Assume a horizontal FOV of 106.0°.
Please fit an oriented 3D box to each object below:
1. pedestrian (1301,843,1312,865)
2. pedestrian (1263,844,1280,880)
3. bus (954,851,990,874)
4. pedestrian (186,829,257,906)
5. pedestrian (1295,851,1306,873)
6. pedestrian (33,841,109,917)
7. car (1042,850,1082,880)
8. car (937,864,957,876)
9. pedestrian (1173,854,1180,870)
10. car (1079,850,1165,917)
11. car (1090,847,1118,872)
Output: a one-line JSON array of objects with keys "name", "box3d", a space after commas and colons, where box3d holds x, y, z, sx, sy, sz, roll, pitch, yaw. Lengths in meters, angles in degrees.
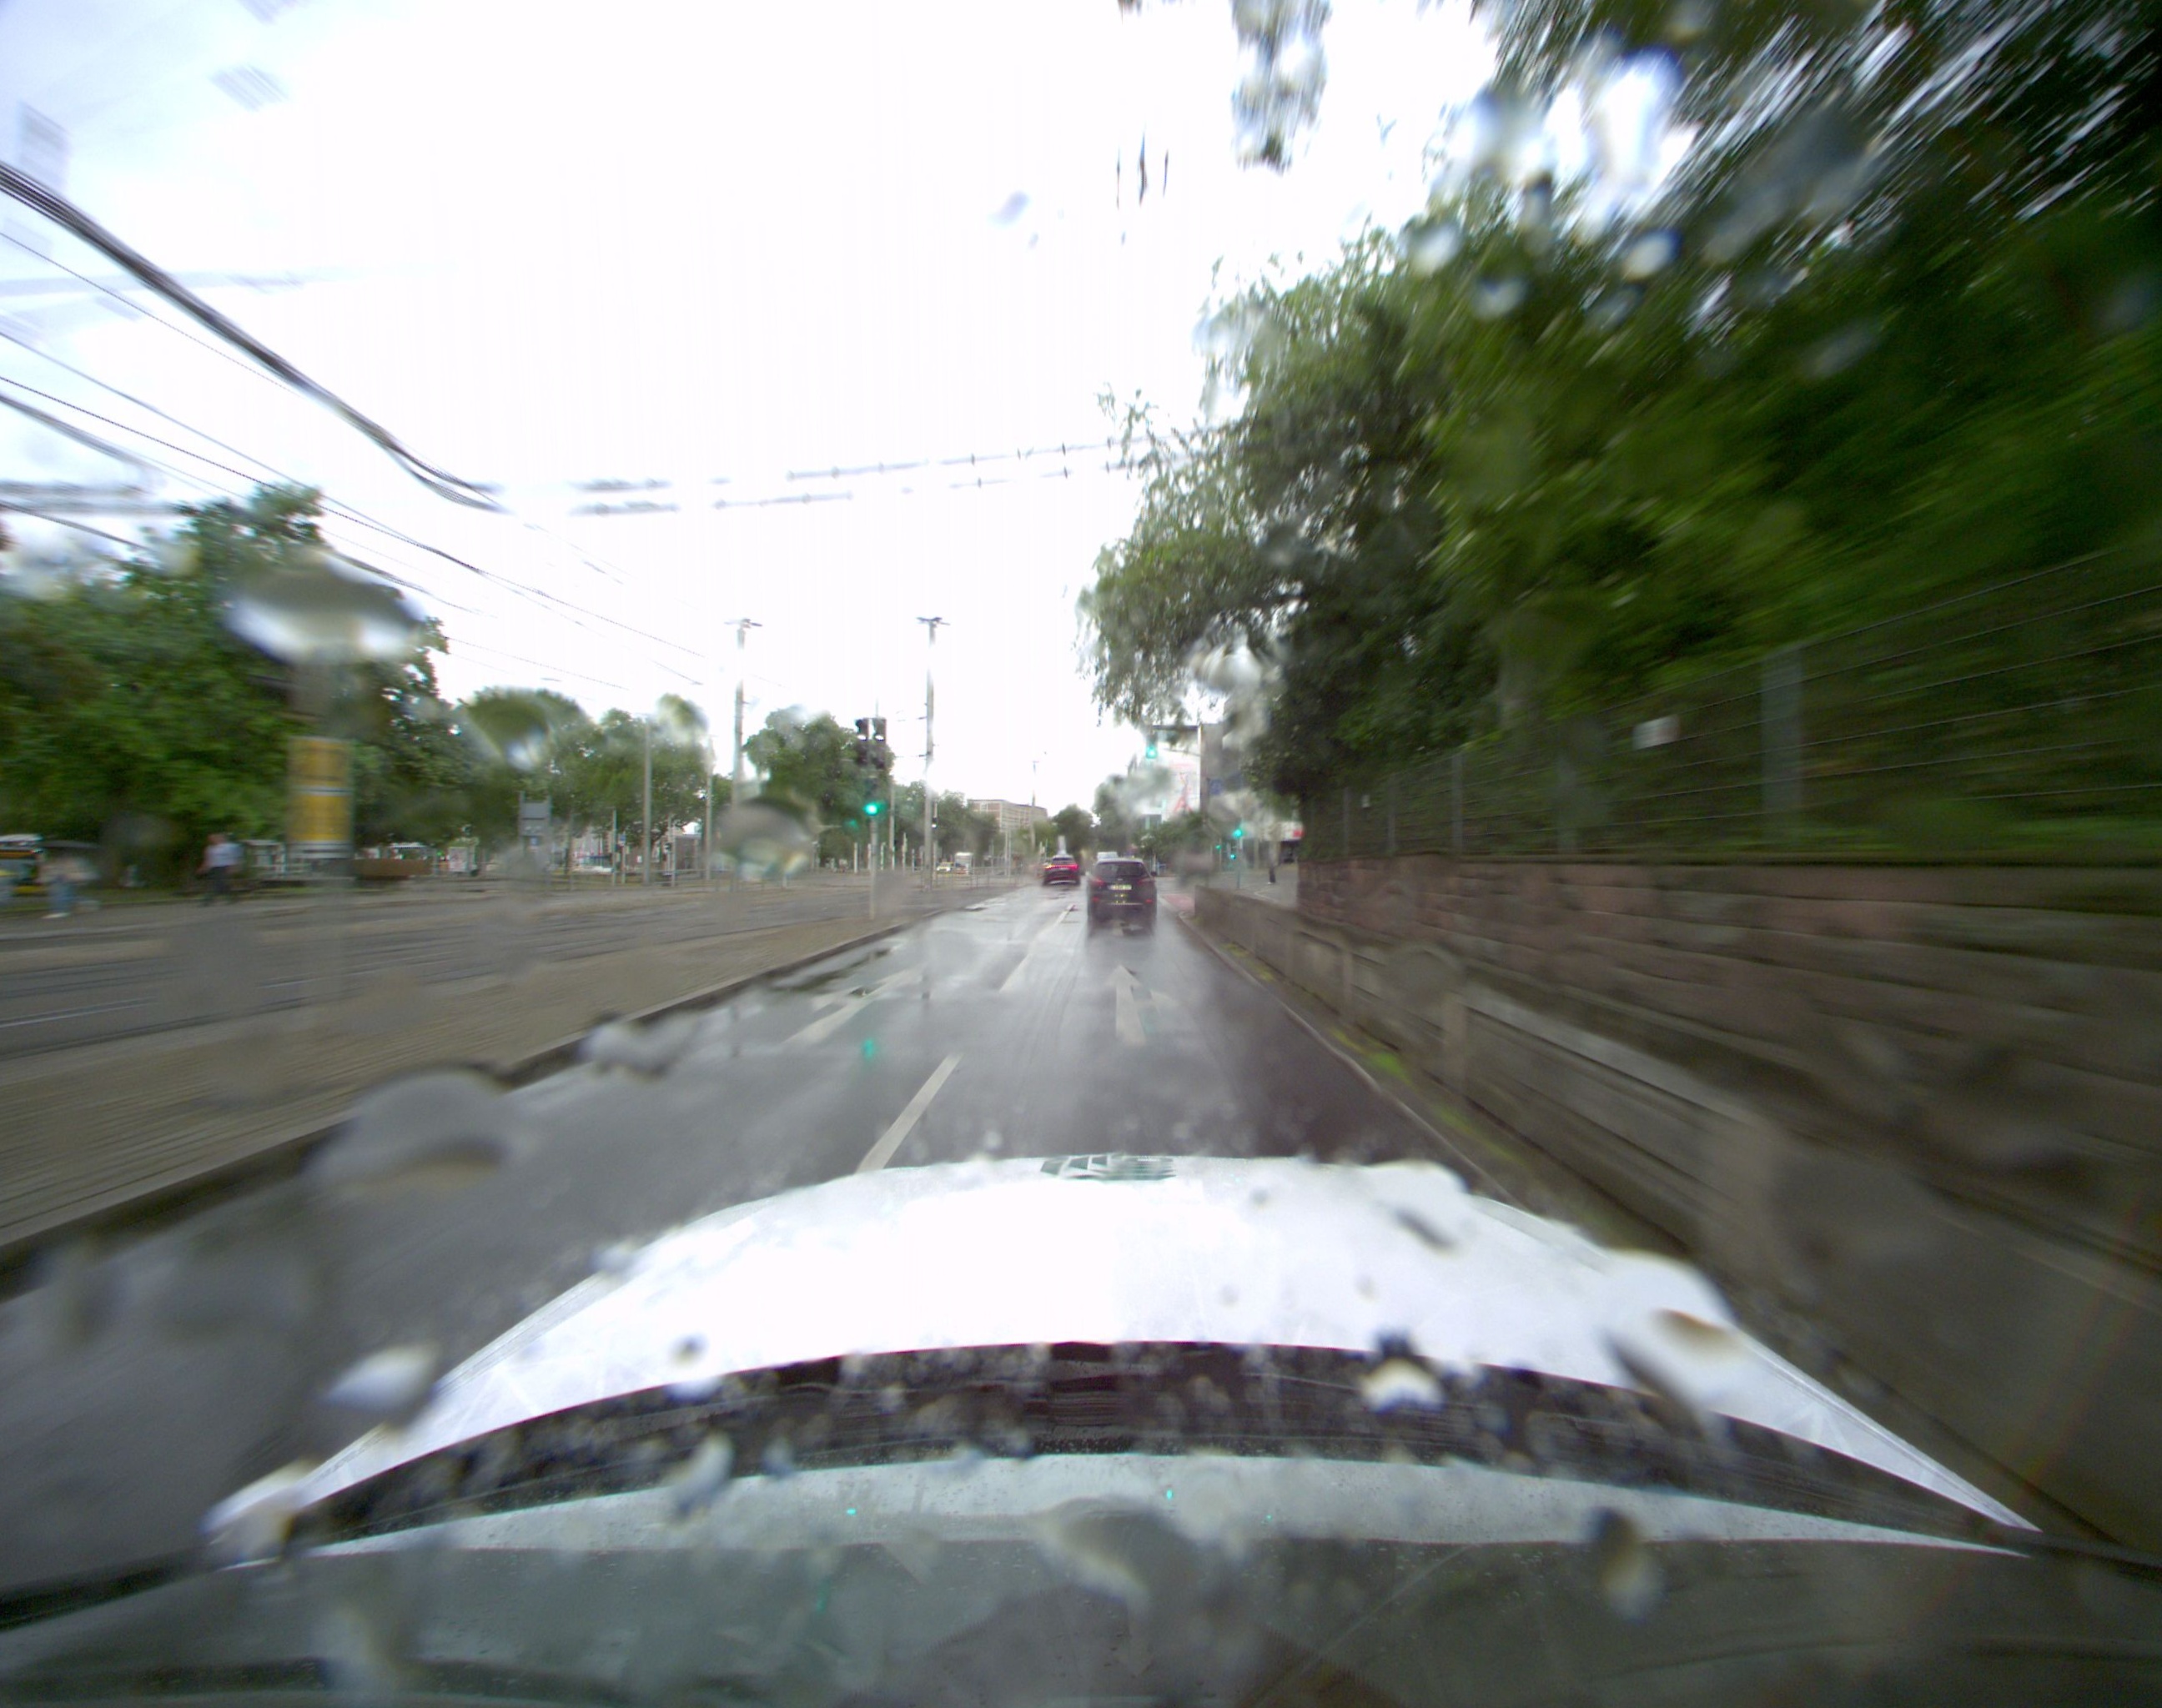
[{"name": "pedestrian", "box3d": [20.243, 0.001, 73.074, 0.710, 1.914, 0.702, -2, -2, 40]}, {"name": "pedestrian", "box3d": [9.342, 0.391, 39.905, 0.522, 1.712, 0.710, -2, -1, 40]}, {"name": "bus", "box3d": [-16.435, 1.266, 124.006, 3.064, 3.301, 12.532, -1, -1, 3]}, {"name": "pedestrian", "box3d": [-21.652, 0.342, 20.529, 0.991, 1.863, 0.918, 2, -1, 27]}, {"name": "pedestrian", "box3d": [19.507, 0.743, 72.472, 0.710, 1.914, 0.702, -2, -2, 40]}, {"name": "pedestrian", "box3d": [-22.012, 0.536, 17.749, 0.990, 1.594, 0.919, 1, -1, 35]}, {"name": "car", "box3d": [-1.053, 0.605, 45.088, 2.093, 1.506, 4.728, -1, -1, -2]}, {"name": "car", "box3d": [-19.669, 2.370, 119.957, 1.985, 1.646, 4.539, -1, -1, 3]}, {"name": "pedestrian", "box3d": [9.448, 0.762, 80.850, 0.537, 1.563, 0.524, -1, -1, 22]}, {"name": "car", "box3d": [1.041, 0.722, 21.558, 2.028, 1.584, 4.394, 0, 0, 2]}, {"name": "car", "box3d": [1.821, 0.440, 63.309, 2.027, 1.840, 4.396, 0, 0, 4]}]
